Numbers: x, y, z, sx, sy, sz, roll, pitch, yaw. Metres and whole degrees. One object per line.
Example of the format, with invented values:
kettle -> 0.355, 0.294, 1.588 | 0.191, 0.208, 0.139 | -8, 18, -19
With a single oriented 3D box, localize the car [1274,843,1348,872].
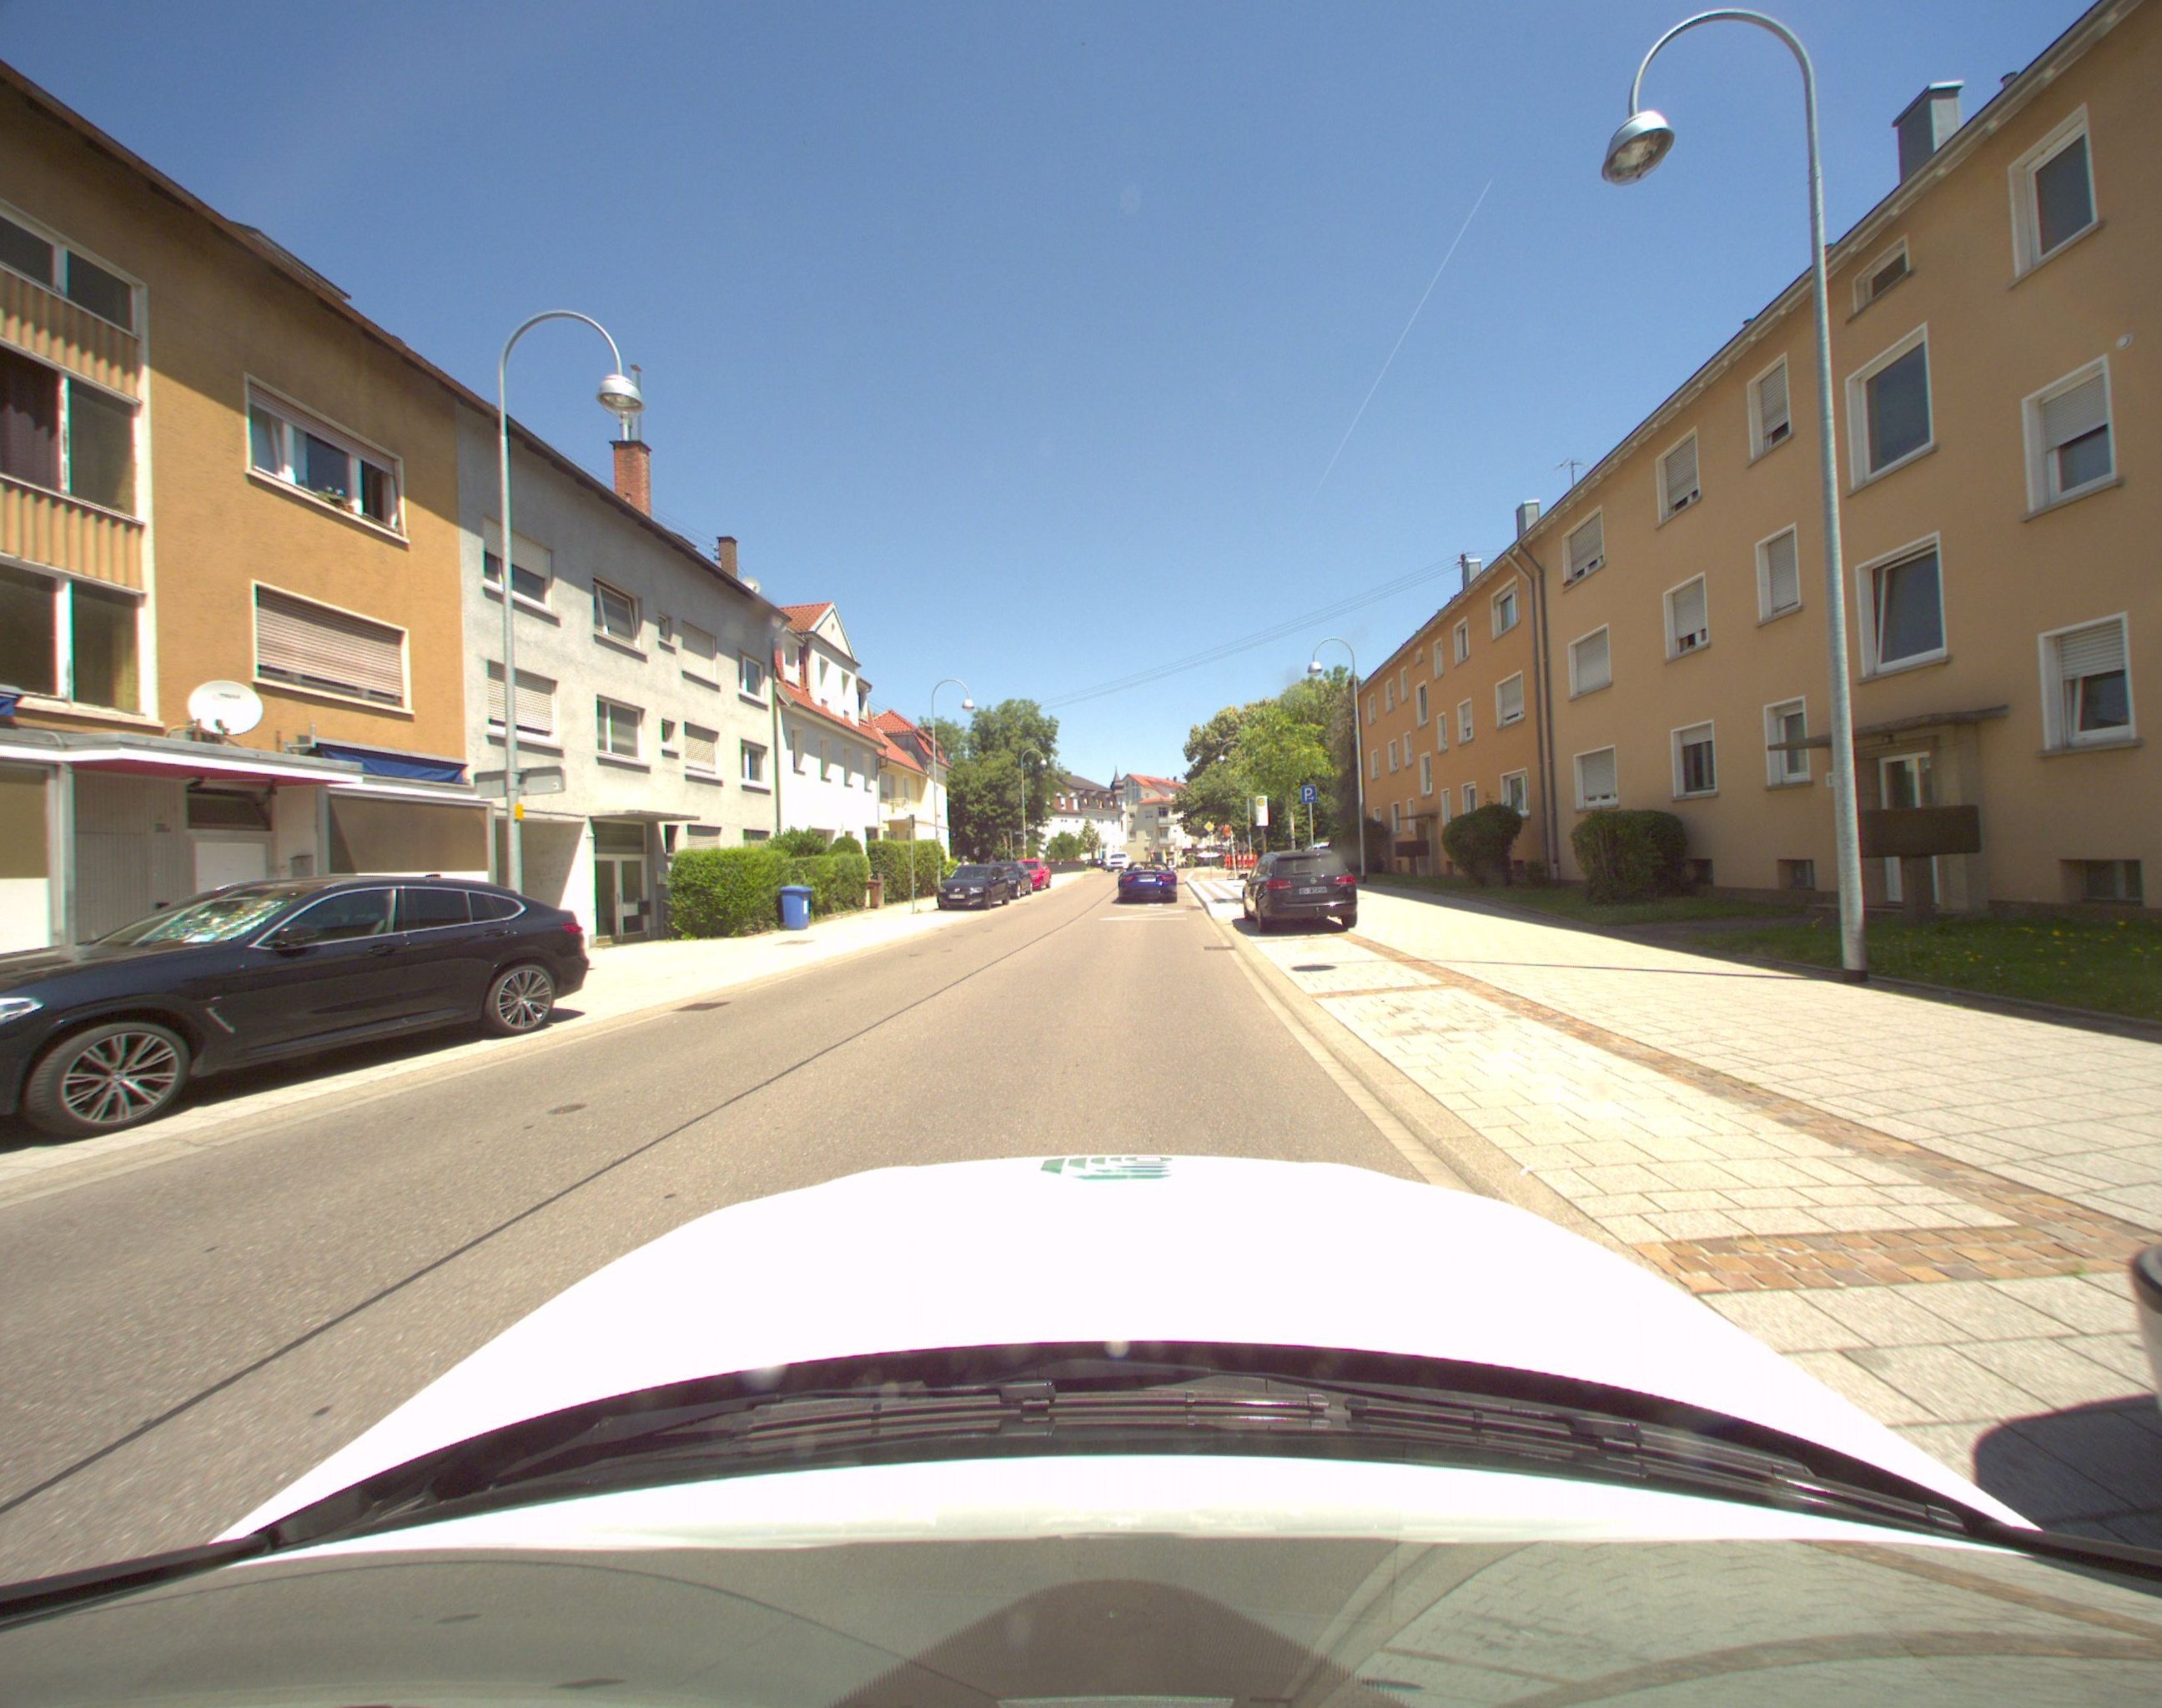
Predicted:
car -> 15.012, 0.233, 53.318 | 4.327, 1.839, 1.748 | -1, -1, -3

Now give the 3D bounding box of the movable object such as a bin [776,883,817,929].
movable object such as a bin -> -6.922, 1.257, 19.821 | 0.670, 1.048, 0.653 | -3, 0, 5

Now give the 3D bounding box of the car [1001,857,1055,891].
car -> -2.493, 0.919, 39.617 | 1.868, 1.479, 4.745 | 1, 0, 6

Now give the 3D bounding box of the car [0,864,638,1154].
car -> -6.797, 0.952, 7.189 | 2.070, 1.614, 5.129 | -1, 0, 15

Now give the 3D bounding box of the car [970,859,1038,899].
car -> -3.070, 0.976, 33.715 | 1.854, 1.461, 5.315 | 0, 0, 5

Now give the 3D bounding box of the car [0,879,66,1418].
car -> -3.968, 0.849, 0.369 | 1.722, 1.411, 4.008 | -4, 0, 7

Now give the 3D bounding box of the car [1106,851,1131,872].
car -> 3.180, 0.606, 69.002 | 1.869, 1.597, 4.364 | -3, 0, 4

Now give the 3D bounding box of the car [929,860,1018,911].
car -> -3.491, 0.989, 27.286 | 1.777, 1.459, 4.209 | 1, 1, 10

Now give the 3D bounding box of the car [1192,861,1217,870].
car -> 18.857, 1.755, 123.760 | 1.696, 1.461, 4.154 | 0, -1, 43

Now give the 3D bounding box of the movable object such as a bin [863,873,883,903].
movable object such as a bin -> -7.235, 1.188, 28.321 | 0.464, 0.990, 0.615 | -2, 0, 5

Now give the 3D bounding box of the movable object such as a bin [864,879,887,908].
movable object such as a bin -> -6.780, 1.298, 26.874 | 0.492, 0.912, 0.707 | -2, 0, 5

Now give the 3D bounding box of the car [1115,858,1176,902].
car -> 2.239, 0.827, 27.502 | 1.861, 1.342, 4.603 | -1, -1, 6

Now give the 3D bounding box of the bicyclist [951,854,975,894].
bicyclist -> -5.073, 0.860, 35.076 | 0.778, 1.659, 0.836 | -2, -1, 4

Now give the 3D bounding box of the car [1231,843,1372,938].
car -> 4.223, 0.626, 16.416 | 1.825, 1.504, 5.071 | -4, 0, 5
